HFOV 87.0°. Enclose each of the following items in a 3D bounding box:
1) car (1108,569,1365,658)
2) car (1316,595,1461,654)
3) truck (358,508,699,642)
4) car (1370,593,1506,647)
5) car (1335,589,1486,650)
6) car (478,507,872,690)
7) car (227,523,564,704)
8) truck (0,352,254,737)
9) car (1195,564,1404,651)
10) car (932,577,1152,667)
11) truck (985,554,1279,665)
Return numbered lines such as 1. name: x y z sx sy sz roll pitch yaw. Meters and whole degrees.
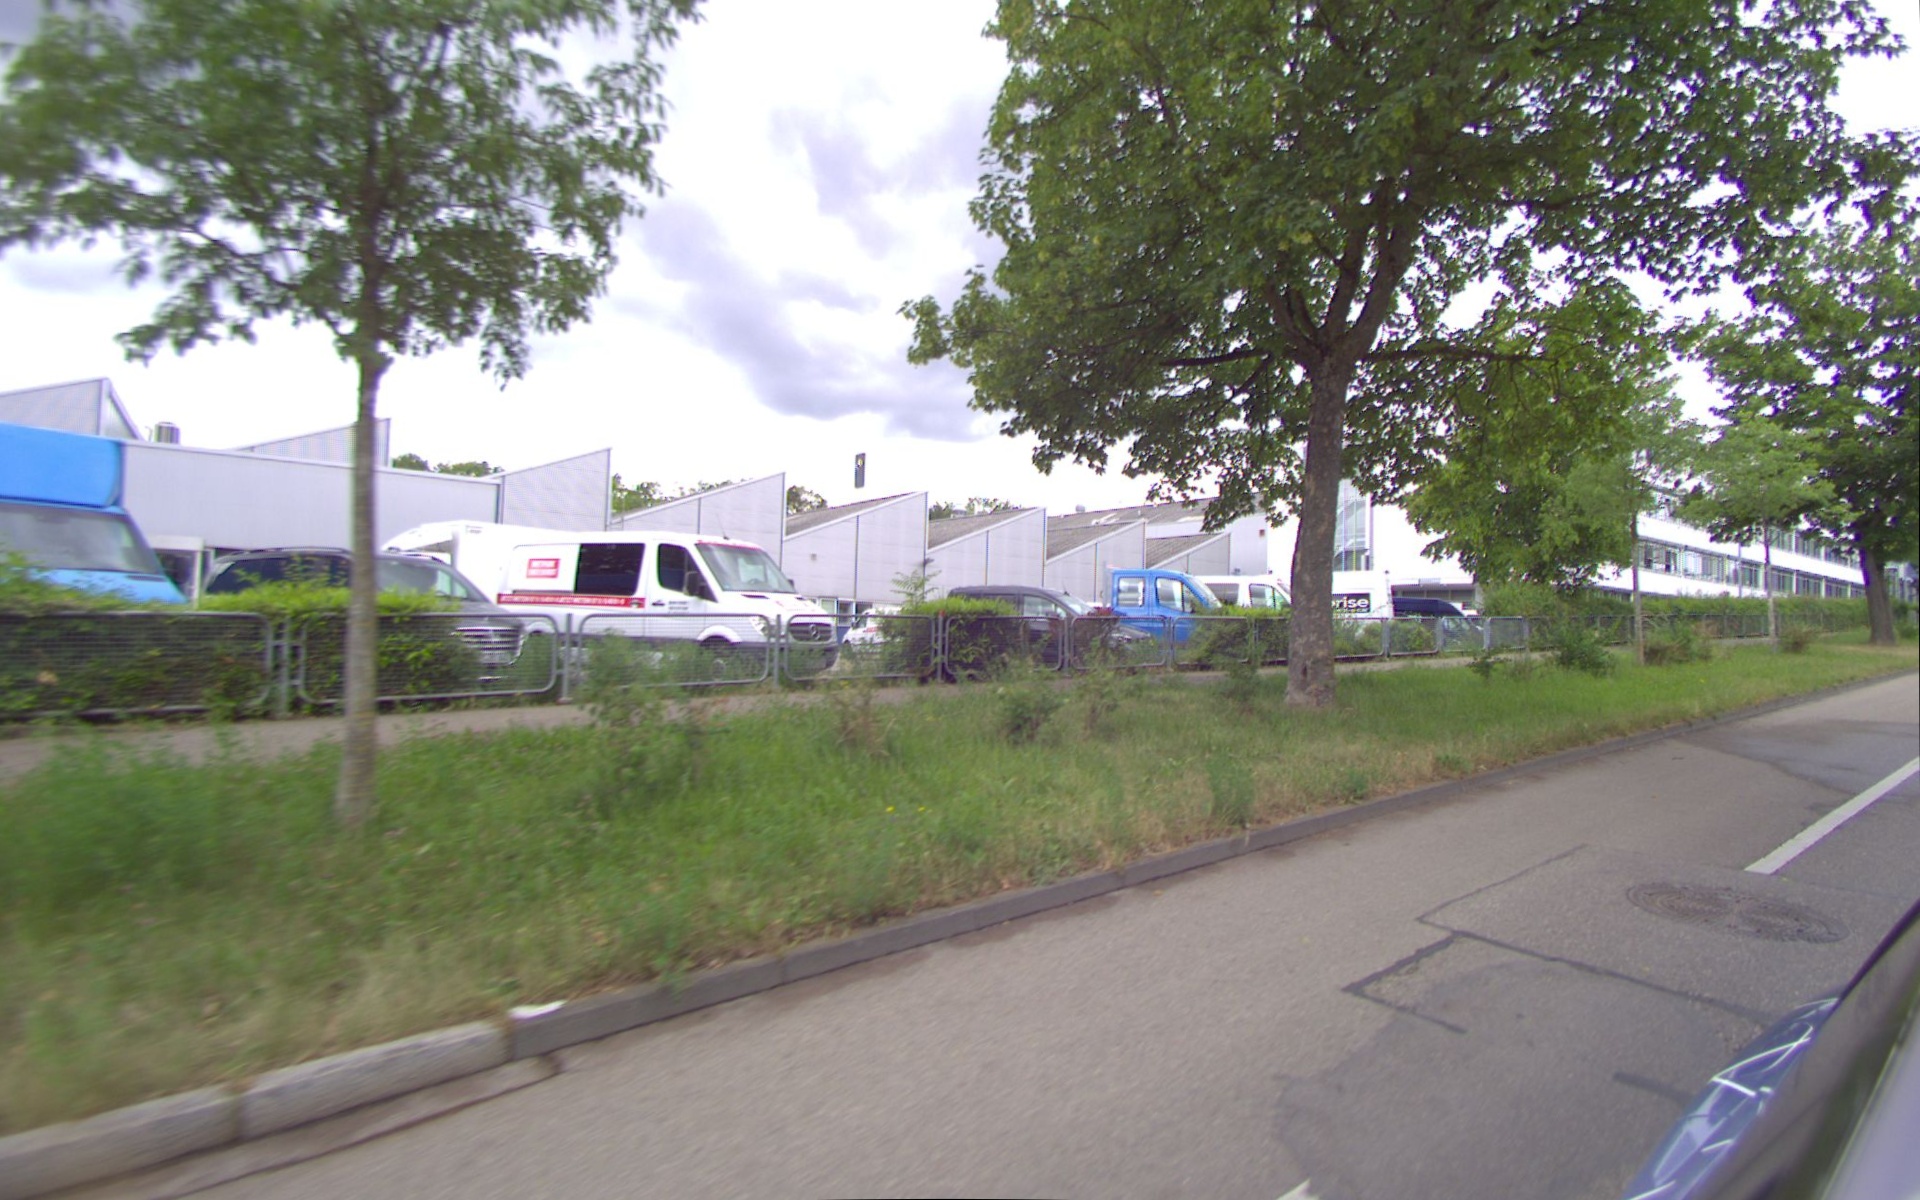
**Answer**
1. car: 6.731 0.330 24.912 5.777 1.982 2.049 -1 -1 30
2. car: 14.124 0.787 33.582 4.305 1.867 1.908 -1 -1 23
3. truck: -12.761 -0.624 31.003 2.848 3.503 9.404 -1 -1 39
4. car: 18.987 0.794 40.422 4.506 2.060 2.064 0 -1 12
5. car: 15.868 0.694 35.933 4.506 2.060 2.064 0 -1 12
6. car: -4.494 0.008 15.681 5.974 2.397 2.339 -1 -1 29
7. car: -7.475 0.176 13.436 3.954 2.102 1.910 -1 -1 23
8. truck: -11.532 -0.546 11.653 7.119 3.521 2.594 1 0 28
9. car: 9.309 0.226 27.809 5.210 2.216 2.052 -1 -1 27
10. car: 1.641 0.421 20.179 3.956 1.650 1.983 -1 -1 24
11. truck: 3.826 0.217 22.786 6.185 2.241 2.228 -1 -1 24
